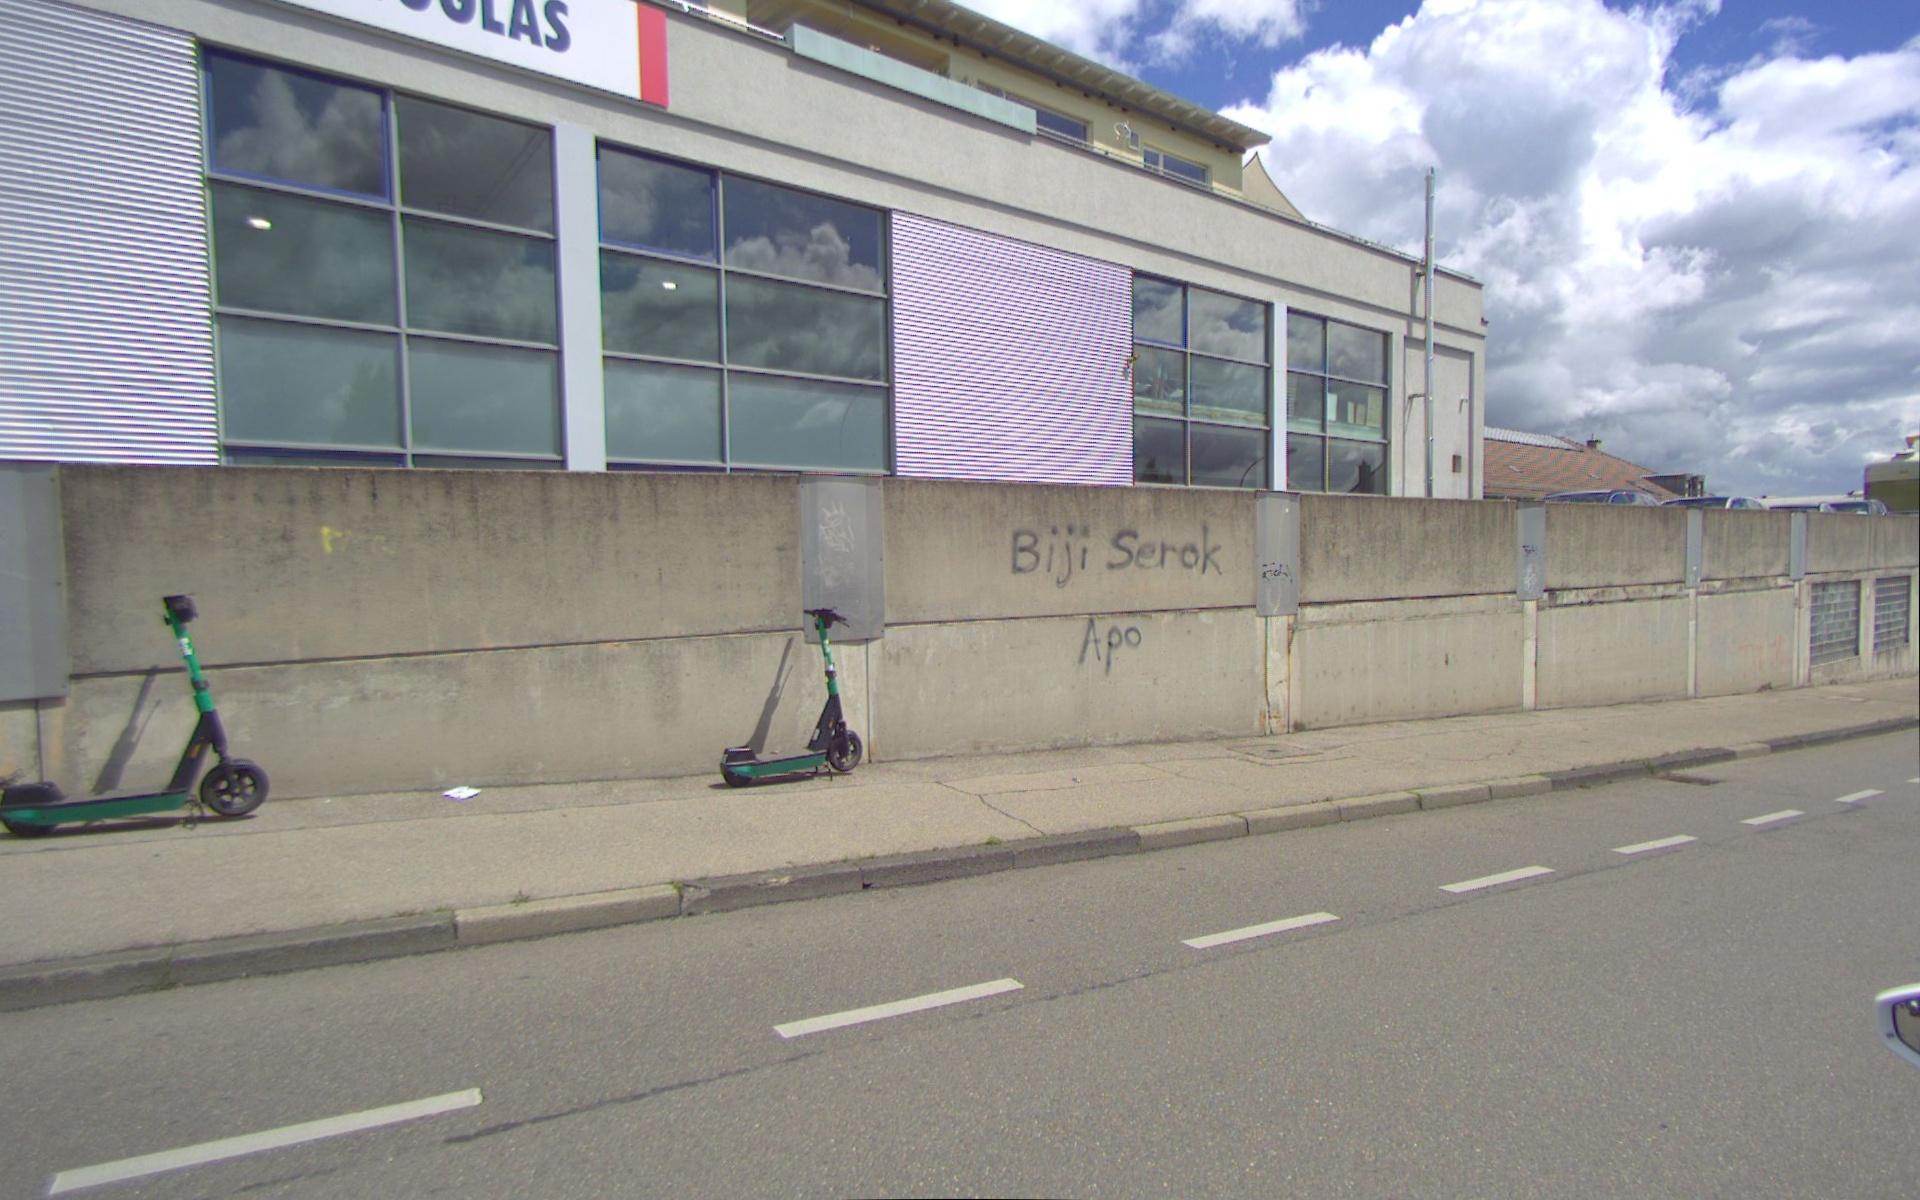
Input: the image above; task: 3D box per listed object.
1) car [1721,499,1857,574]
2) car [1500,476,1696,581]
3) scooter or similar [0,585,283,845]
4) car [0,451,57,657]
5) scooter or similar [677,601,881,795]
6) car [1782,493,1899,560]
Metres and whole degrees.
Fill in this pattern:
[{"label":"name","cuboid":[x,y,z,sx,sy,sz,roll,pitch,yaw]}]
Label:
[{"label":"car","cuboid":[21.507,-1.574,26.004,4.066,1.658,1.793,1,0,-37]},{"label":"car","cuboid":[12.146,-1.259,19.053,4.066,1.658,1.793,1,0,-37]},{"label":"scooter or similar","cuboid":[-4.513,0.585,5.481,1.290,1.293,0.554,1,1,-30]},{"label":"car","cuboid":[-9.730,-0.427,7.654,4.077,1.658,1.792,1,0,-38]},{"label":"scooter or similar","cuboid":[-1.318,0.679,7.439,1.372,1.293,0.515,1,3,-40]},{"label":"car","cuboid":[26.004,-2.100,29.635,4.066,1.658,1.793,1,0,-37]}]
